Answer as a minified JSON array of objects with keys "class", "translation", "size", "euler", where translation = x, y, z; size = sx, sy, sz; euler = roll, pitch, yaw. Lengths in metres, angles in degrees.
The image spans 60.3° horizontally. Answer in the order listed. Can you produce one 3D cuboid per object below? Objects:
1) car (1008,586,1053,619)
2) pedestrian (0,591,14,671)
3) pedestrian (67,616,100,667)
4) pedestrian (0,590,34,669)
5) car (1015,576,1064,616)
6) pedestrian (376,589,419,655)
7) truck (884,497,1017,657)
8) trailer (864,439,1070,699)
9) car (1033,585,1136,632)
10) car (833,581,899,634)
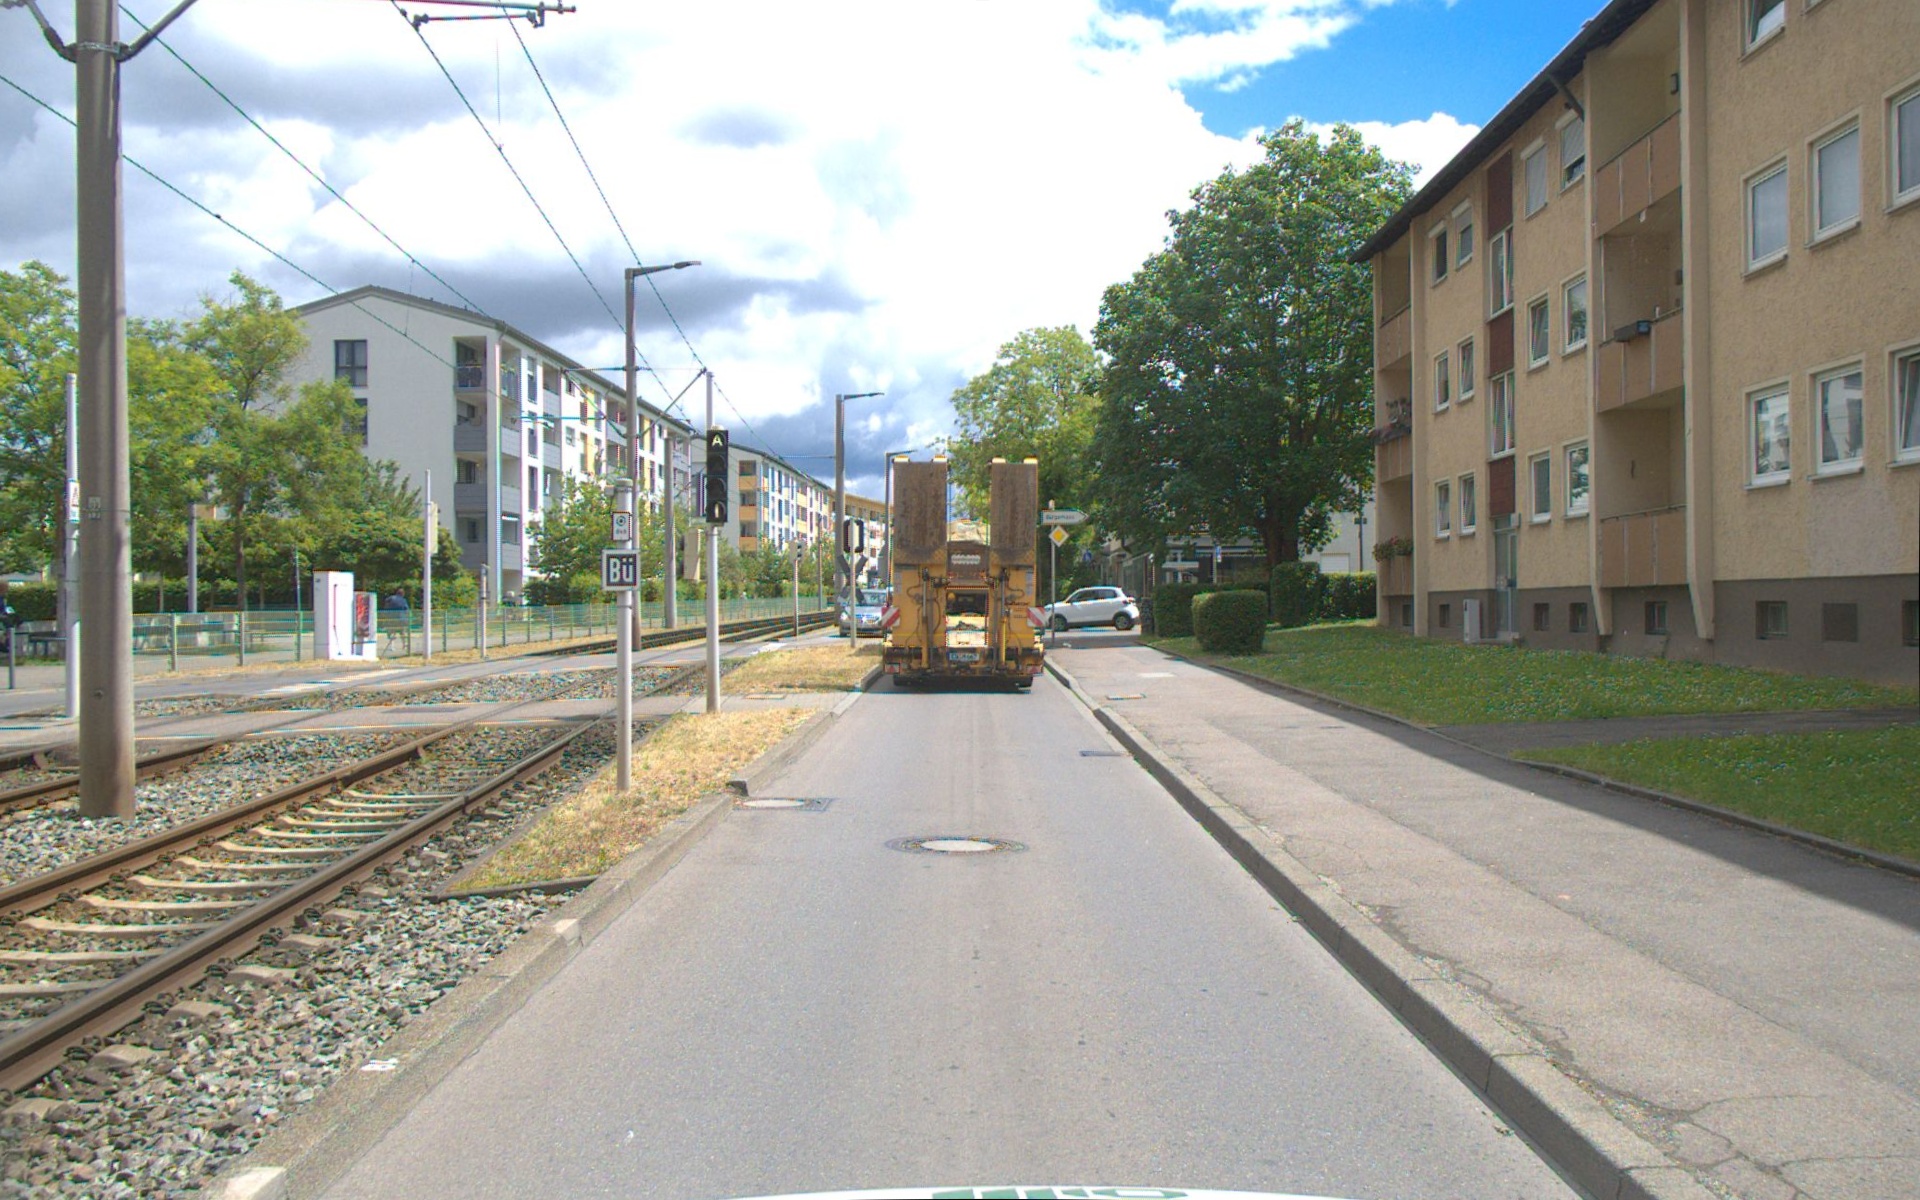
[{"class":"car","translation":[3.357,0.102,79.782],"size":[1.953,1.411,4.000],"euler":[-2,2,0]},{"class":"pedestrian","translation":[-19.731,0.643,33.603],"size":[0.609,1.600,0.558],"euler":[-2,1,11]},{"class":"pedestrian","translation":[-22.294,1.055,42.069],"size":[0.533,1.268,0.458],"euler":[-1,1,21]},{"class":"pedestrian","translation":[-19.812,0.616,34.470],"size":[0.609,1.600,0.558],"euler":[-2,1,5]},{"class":"car","translation":[3.566,-0.204,74.915],"size":[1.953,1.646,4.000],"euler":[-2,2,0]},{"class":"pedestrian","translation":[-14.793,0.578,43.540],"size":[0.734,1.690,0.870],"euler":[-2,1,4]},{"class":"truck","translation":[-0.354,-0.606,39.896],"size":[2.777,3.388,7.982],"euler":[-2,2,-2]},{"class":"trailer","translation":[-0.112,-0.624,30.793],"size":[2.989,3.838,11.608],"euler":[-2,2,-2]},{"class":"car","translation":[4.590,0.306,60.671],"size":[3.521,1.612,2.002],"euler":[-2,0,12]},{"class":"car","translation":[-3.159,0.239,56.206],"size":[1.764,1.681,4.133],"euler":[-2,0,3]}]
